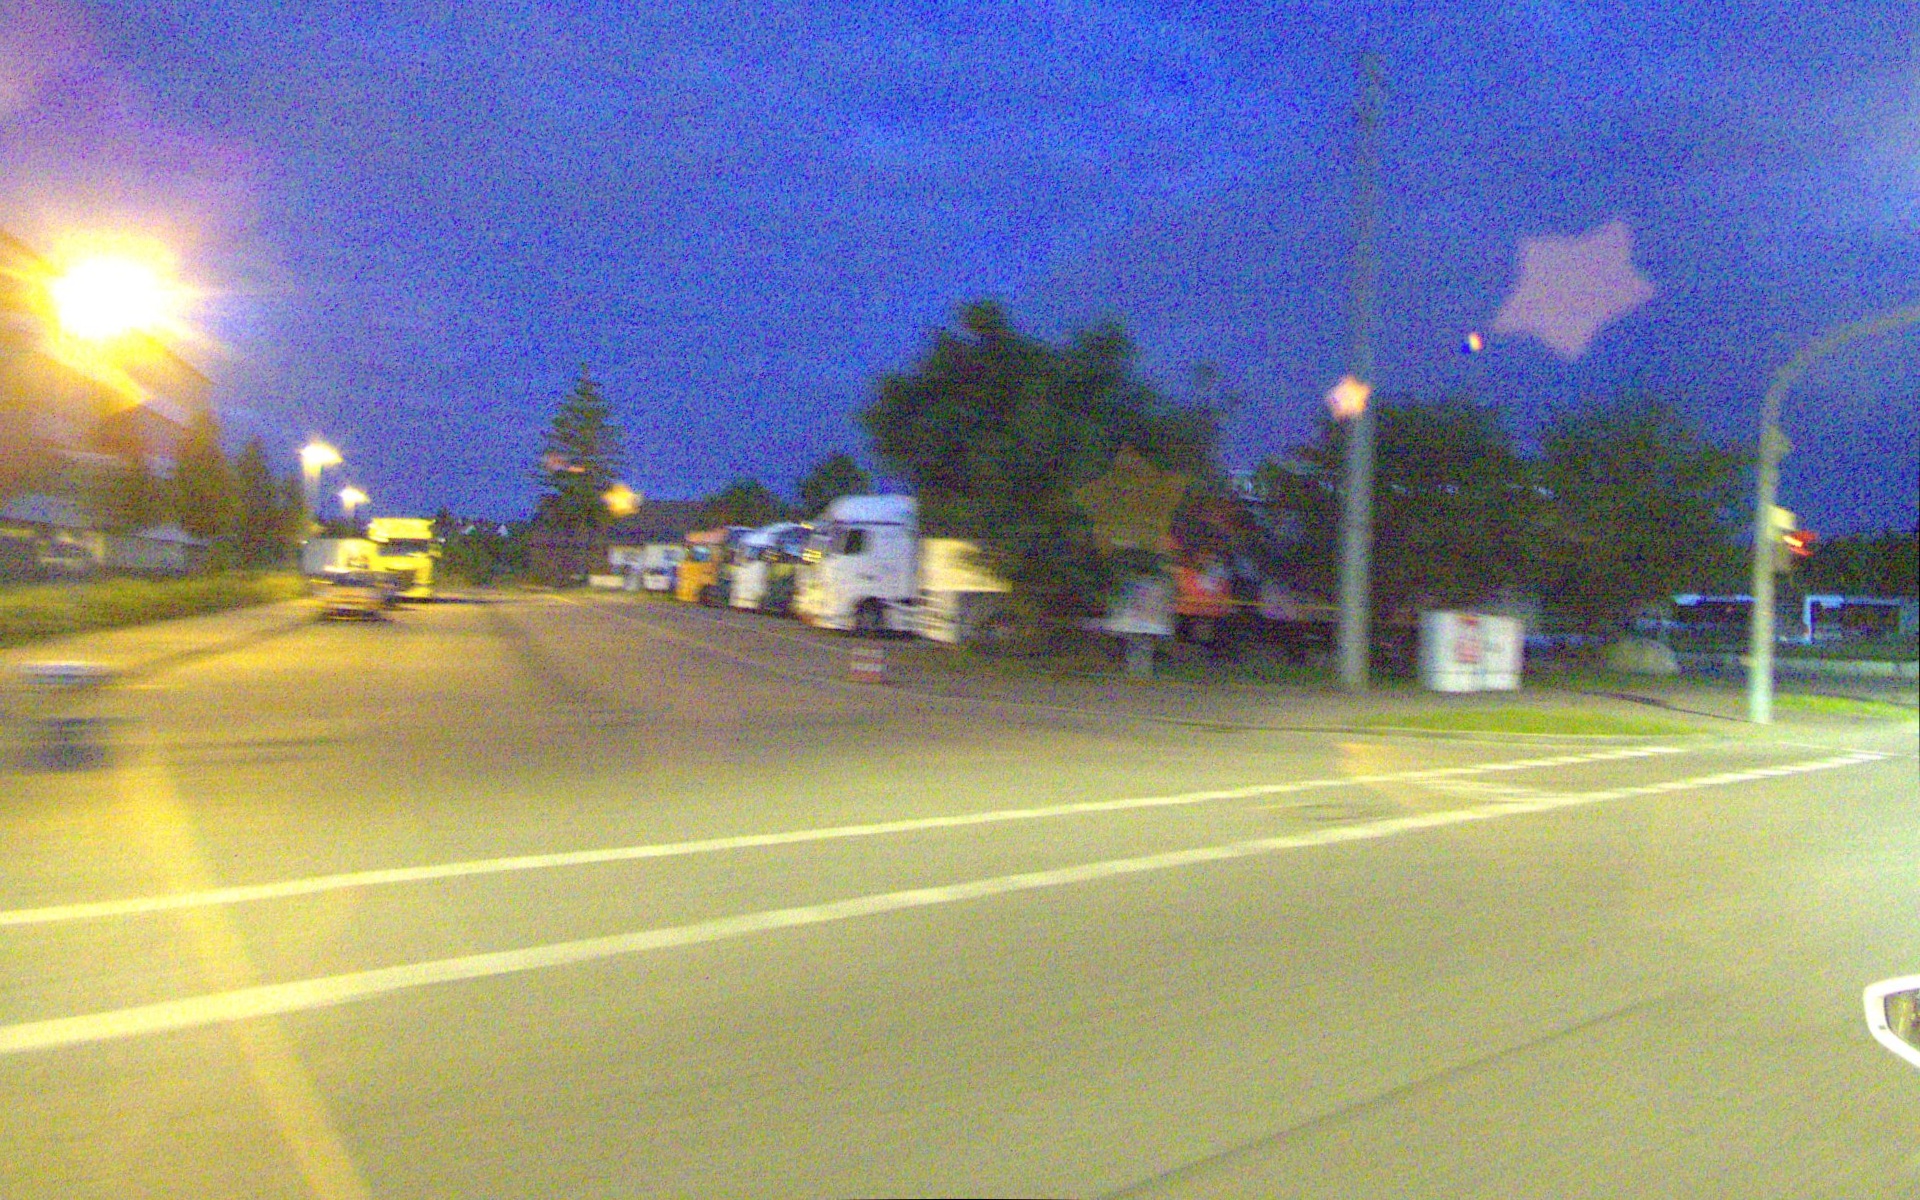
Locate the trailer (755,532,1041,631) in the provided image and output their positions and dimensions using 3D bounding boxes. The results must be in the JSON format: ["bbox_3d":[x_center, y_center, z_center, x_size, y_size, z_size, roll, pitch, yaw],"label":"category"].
[{"bbox_3d":[-3.280,-0.902,53.321,14.739,4.415,3.061,2,1,-12],"label":"trailer"}]

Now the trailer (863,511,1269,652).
[{"bbox_3d":[3.886,-0.619,37.715,14.729,4.415,3.063,2,1,-9],"label":"trailer"}]

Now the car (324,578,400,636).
[{"bbox_3d":[-18.544,0.182,31.205,1.869,1.572,3.967,2,1,-30],"label":"car"}]

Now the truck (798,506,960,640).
[{"bbox_3d":[-3.016,-0.937,36.668,5.465,4.416,3.063,2,1,-9],"label":"truck"}]

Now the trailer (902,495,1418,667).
[{"bbox_3d":[5.798,-0.483,29.950,14.724,4.204,3.064,2,1,-7],"label":"trailer"}]

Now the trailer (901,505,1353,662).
[{"bbox_3d":[5.551,-0.472,34.010,14.729,4.415,3.063,2,1,-9],"label":"trailer"}]

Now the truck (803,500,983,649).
[{"bbox_3d":[-2.258,-0.790,32.839,5.464,4.416,3.063,2,1,-8],"label":"truck"}]

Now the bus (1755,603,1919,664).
[{"bbox_3d":[52.364,1.985,57.865,12.450,3.247,3.016,2,-1,-12],"label":"bus"}]

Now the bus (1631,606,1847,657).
[{"bbox_3d":[51.835,2.097,67.059,12.032,3.022,2.954,1,-1,0],"label":"bus"}]

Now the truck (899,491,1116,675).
[{"bbox_3d":[1.039,-0.367,24.243,4.427,3.985,3.059,2,1,-14],"label":"truck"}]

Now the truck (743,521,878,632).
[{"bbox_3d":[-6.557,-0.993,43.930,5.468,4.416,3.061,2,1,-11],"label":"truck"}]

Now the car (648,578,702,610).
[{"bbox_3d":[-19.230,-0.376,68.019,1.960,2.040,4.655,2,0,4],"label":"car"}]

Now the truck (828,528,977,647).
[{"bbox_3d":[-2.383,-0.477,40.480,5.468,4.416,3.061,2,1,-11],"label":"truck"}]

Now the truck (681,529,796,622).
[{"bbox_3d":[-11.331,-1.219,51.655,5.468,4.416,3.061,2,1,-11],"label":"truck"}]

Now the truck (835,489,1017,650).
[{"bbox_3d":[-1.087,-0.825,29.070,4.844,4.204,3.064,2,1,-7],"label":"truck"}]

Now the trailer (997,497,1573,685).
[{"bbox_3d":[8.539,-0.076,26.113,14.748,3.985,3.059,2,1,-14],"label":"trailer"}]

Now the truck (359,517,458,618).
[{"bbox_3d":[-28.657,-1.505,52.797,3.531,4.611,12.514,2,-1,-25],"label":"truck"}]

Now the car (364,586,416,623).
[{"bbox_3d":[-22.957,0.153,40.443,1.675,1.384,3.967,2,-1,-30],"label":"car"}]

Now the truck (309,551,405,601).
[{"bbox_3d":[-47.931,-1.905,79.724,9.544,3.666,3.354,2,0,38],"label":"truck"}]

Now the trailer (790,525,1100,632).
[{"bbox_3d":[-0.742,-0.960,49.246,14.739,4.415,3.061,2,1,-12],"label":"trailer"}]

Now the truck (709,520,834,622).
[{"bbox_3d":[-8.908,-1.309,47.547,5.468,4.416,3.061,2,1,-11],"label":"truck"}]
